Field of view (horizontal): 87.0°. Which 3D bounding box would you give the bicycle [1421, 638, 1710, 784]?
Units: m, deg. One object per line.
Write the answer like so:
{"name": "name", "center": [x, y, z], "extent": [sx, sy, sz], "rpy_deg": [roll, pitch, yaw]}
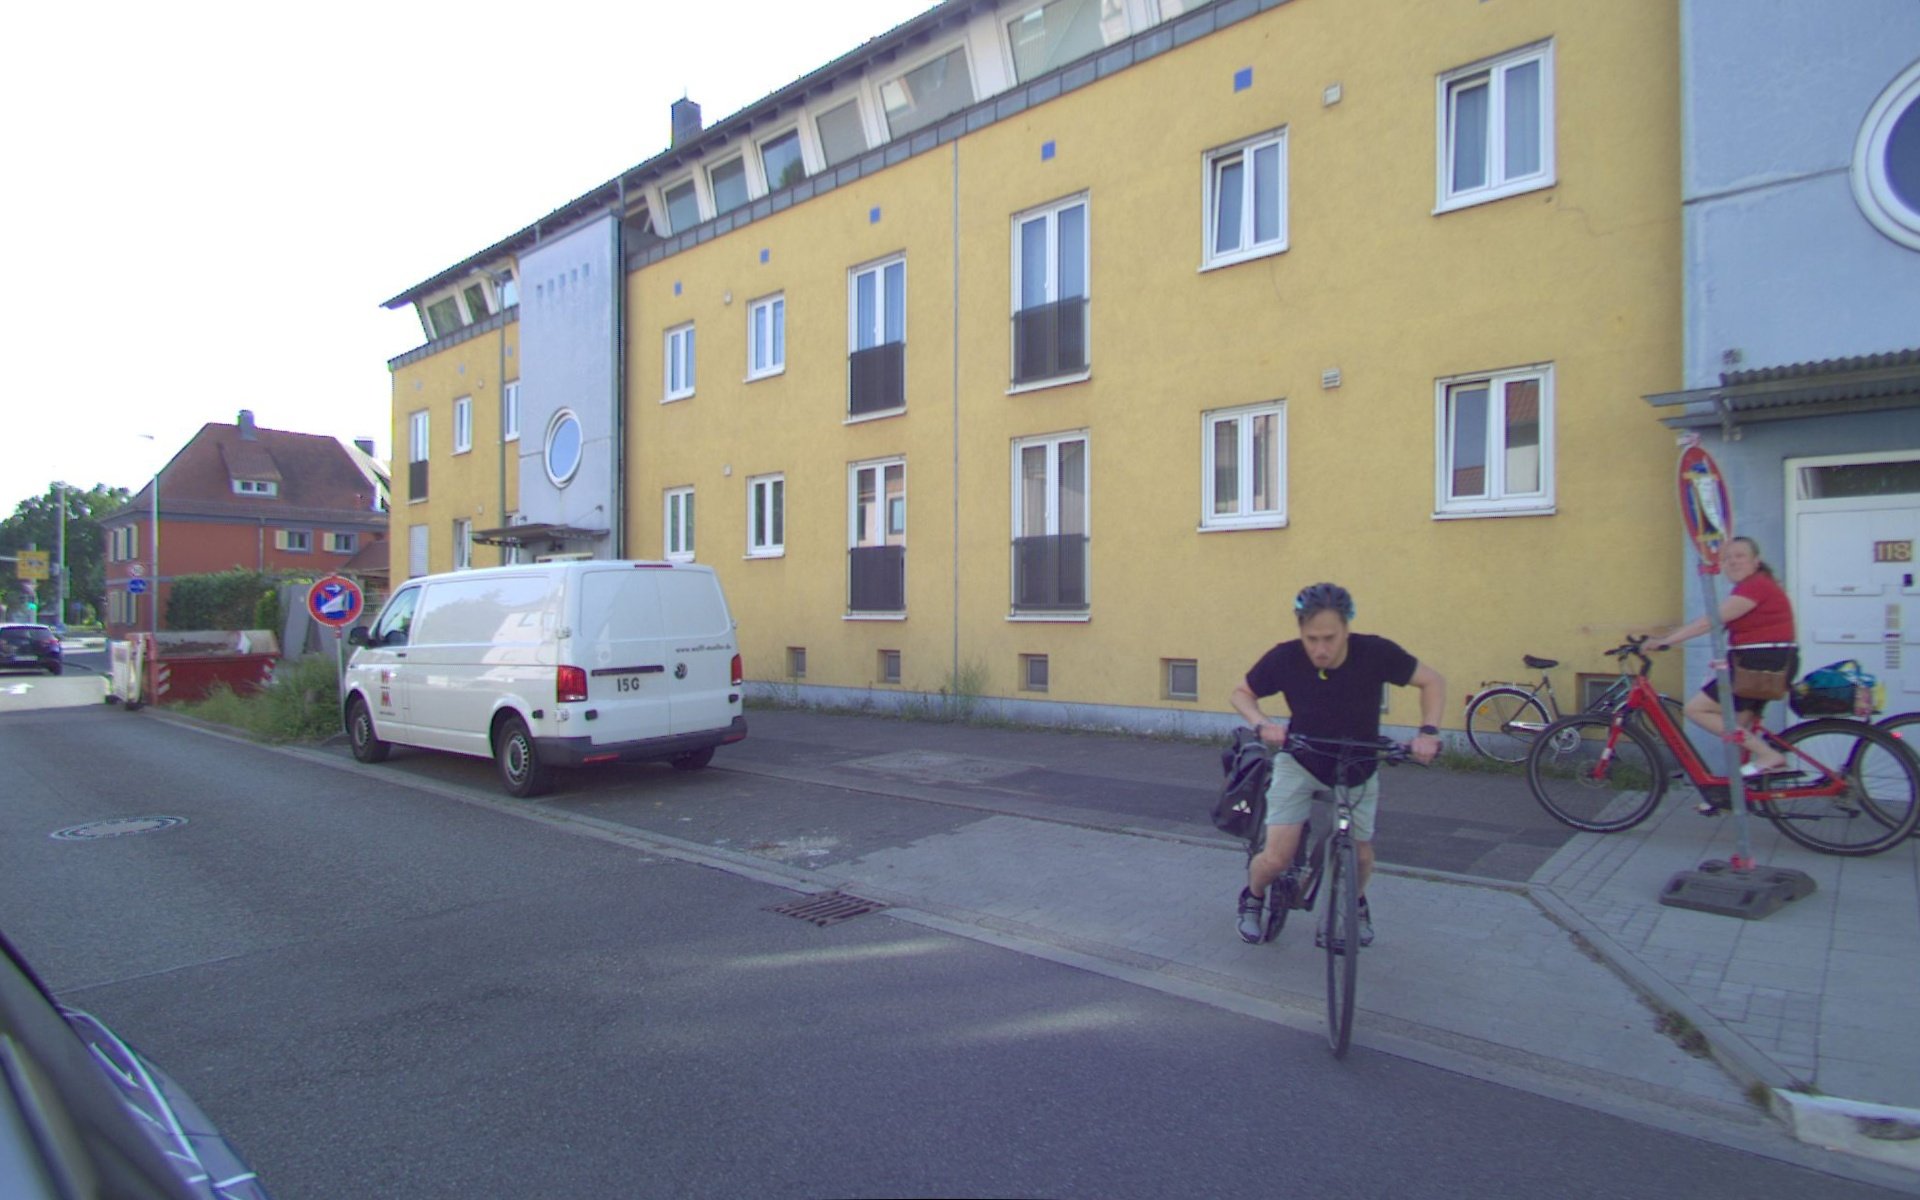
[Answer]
{"name": "bicycle", "center": [4.864, 0.835, 8.221], "extent": [1.906, 1.005, 0.708], "rpy_deg": [-1, 0, 43]}

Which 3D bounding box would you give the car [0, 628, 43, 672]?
{"name": "car", "center": [-32.997, 1.684, 34.727], "extent": [3.998, 1.453, 1.771], "rpy_deg": [-2, -3, 41]}

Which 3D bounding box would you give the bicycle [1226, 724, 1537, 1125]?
{"name": "bicycle", "center": [1.444, 1.027, 3.862], "extent": [0.673, 0.861, 2.020], "rpy_deg": [-1, 0, 11]}

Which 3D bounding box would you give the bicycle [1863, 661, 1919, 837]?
{"name": "bicycle", "center": [6.038, 0.822, 5.340], "extent": [1.873, 0.919, 0.683], "rpy_deg": [-2, 0, 42]}

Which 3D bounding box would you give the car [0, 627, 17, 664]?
{"name": "car", "center": [-39.735, 1.826, 41.034], "extent": [3.998, 1.453, 1.771], "rpy_deg": [-2, -3, 41]}

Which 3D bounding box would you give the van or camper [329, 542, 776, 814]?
{"name": "van or camper", "center": [-4.155, 0.603, 9.864], "extent": [4.917, 2.018, 1.973], "rpy_deg": [-1, 0, 40]}

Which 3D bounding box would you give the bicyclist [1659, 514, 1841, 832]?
{"name": "bicyclist", "center": [4.382, 0.371, 5.619], "extent": [0.727, 1.615, 0.662], "rpy_deg": [-2, 0, 41]}

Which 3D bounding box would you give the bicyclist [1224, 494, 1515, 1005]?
{"name": "bicyclist", "center": [1.499, 0.506, 3.887], "extent": [0.837, 1.702, 0.874], "rpy_deg": [-1, 0, 11]}

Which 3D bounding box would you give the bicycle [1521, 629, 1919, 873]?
{"name": "bicycle", "center": [4.333, 0.756, 5.626], "extent": [2.021, 1.169, 0.605], "rpy_deg": [-2, 0, 41]}

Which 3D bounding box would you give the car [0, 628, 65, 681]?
{"name": "car", "center": [-27.805, 1.562, 29.718], "extent": [3.998, 1.453, 1.771], "rpy_deg": [-2, -3, 41]}
